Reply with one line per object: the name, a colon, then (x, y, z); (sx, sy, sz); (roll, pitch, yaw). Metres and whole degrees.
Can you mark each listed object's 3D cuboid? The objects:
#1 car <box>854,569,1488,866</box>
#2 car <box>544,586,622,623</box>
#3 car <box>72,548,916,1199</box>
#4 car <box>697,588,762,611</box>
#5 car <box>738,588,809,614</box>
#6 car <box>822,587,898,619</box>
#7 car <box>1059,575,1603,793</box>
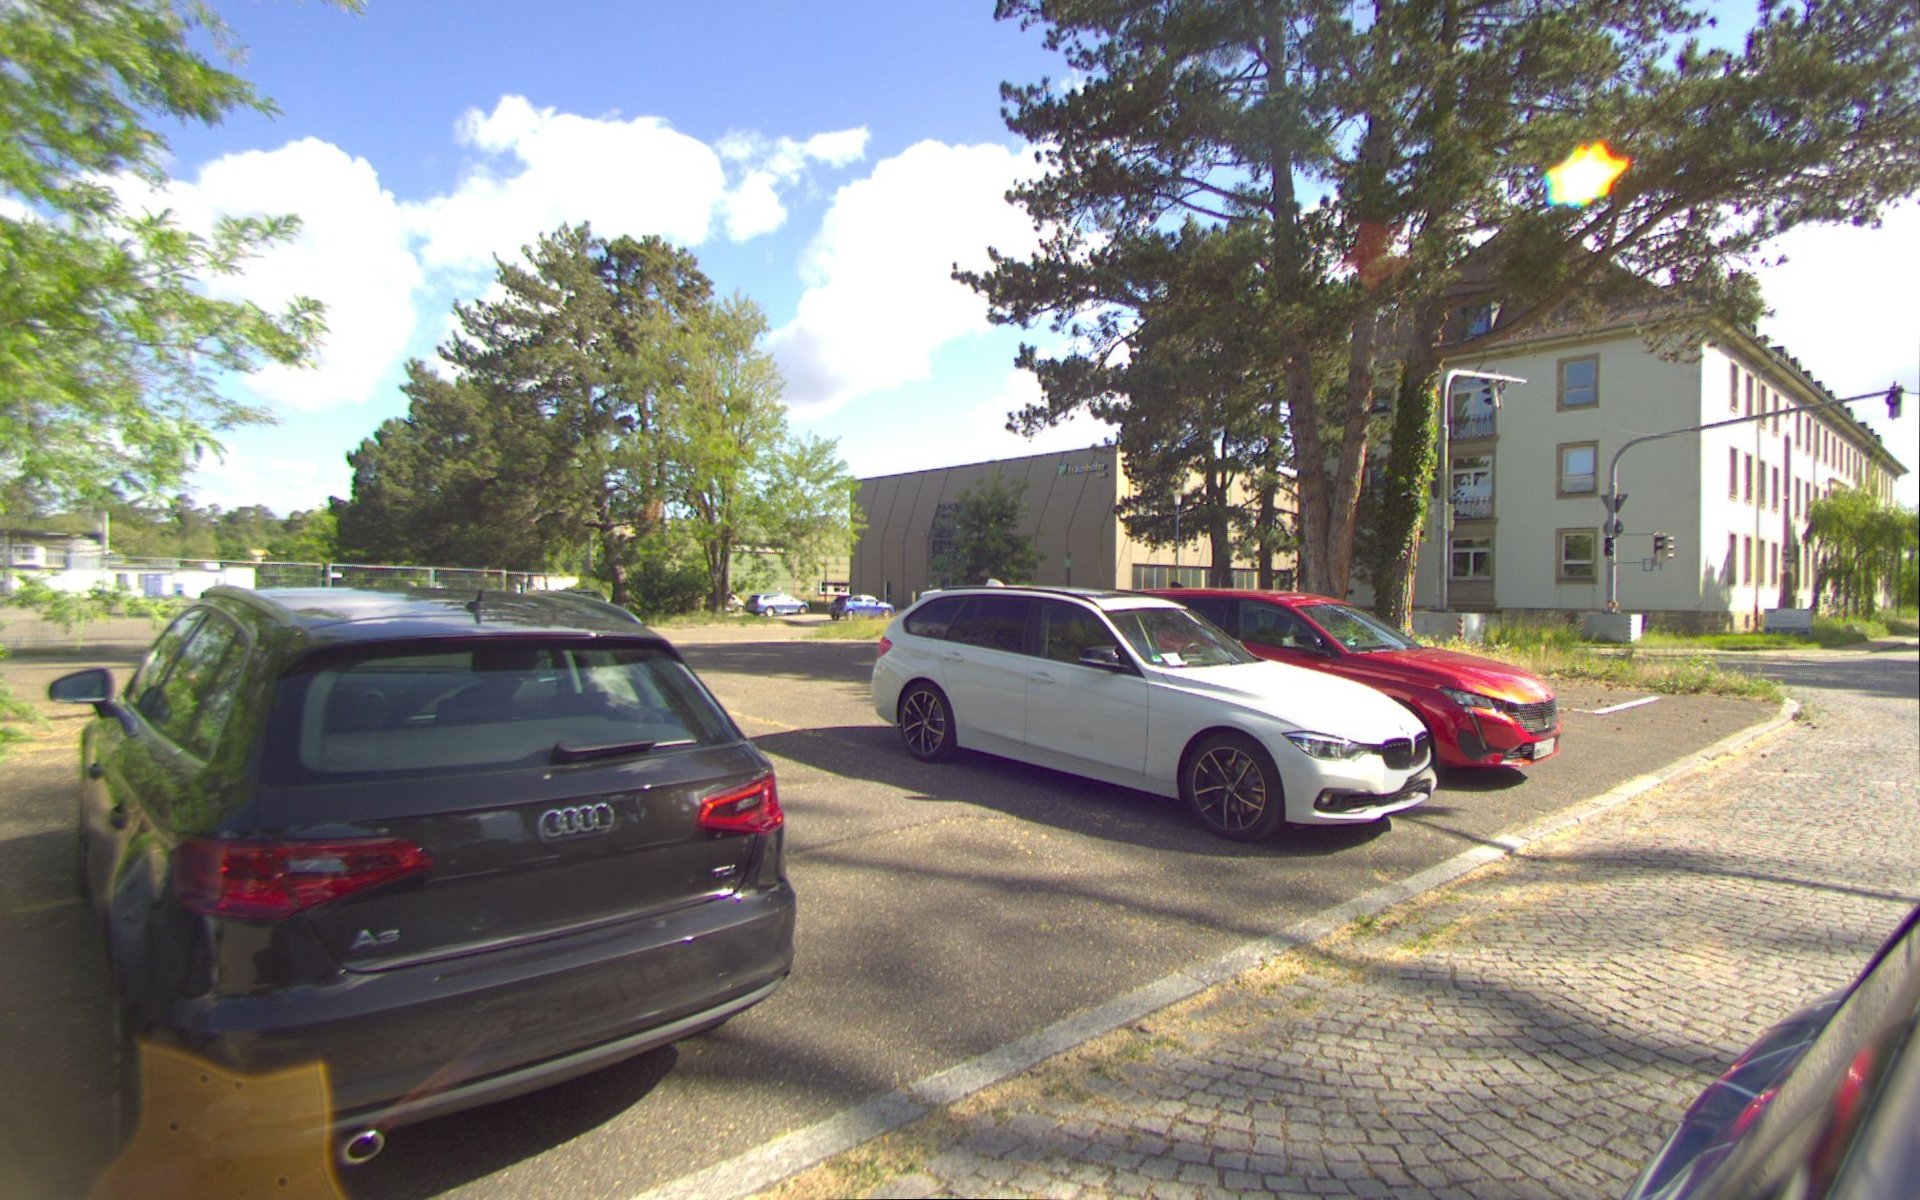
car: (1.300, 0.585, 7.772); (1.808, 1.482, 4.518); (0, 3, -44)
car: (-15.882, 0.176, 42.515); (1.715, 1.440, 3.993); (2, -1, -41)
car: (-2.173, 0.612, 3.929); (1.813, 1.458, 4.011); (0, 3, -43)
car: (-16.345, -0.011, 71.882); (4.154, 1.584, 1.778); (0, -1, -42)
car: (-12.082, 0.064, 65.654); (4.154, 1.584, 1.857); (0, -3, -42)
car: (-5.777, 0.142, 58.616); (3.990, 1.583, 1.860); (-4, 3, -40)
car: (3.273, 0.568, 9.716); (1.862, 1.438, 4.544); (0, 3, -42)
